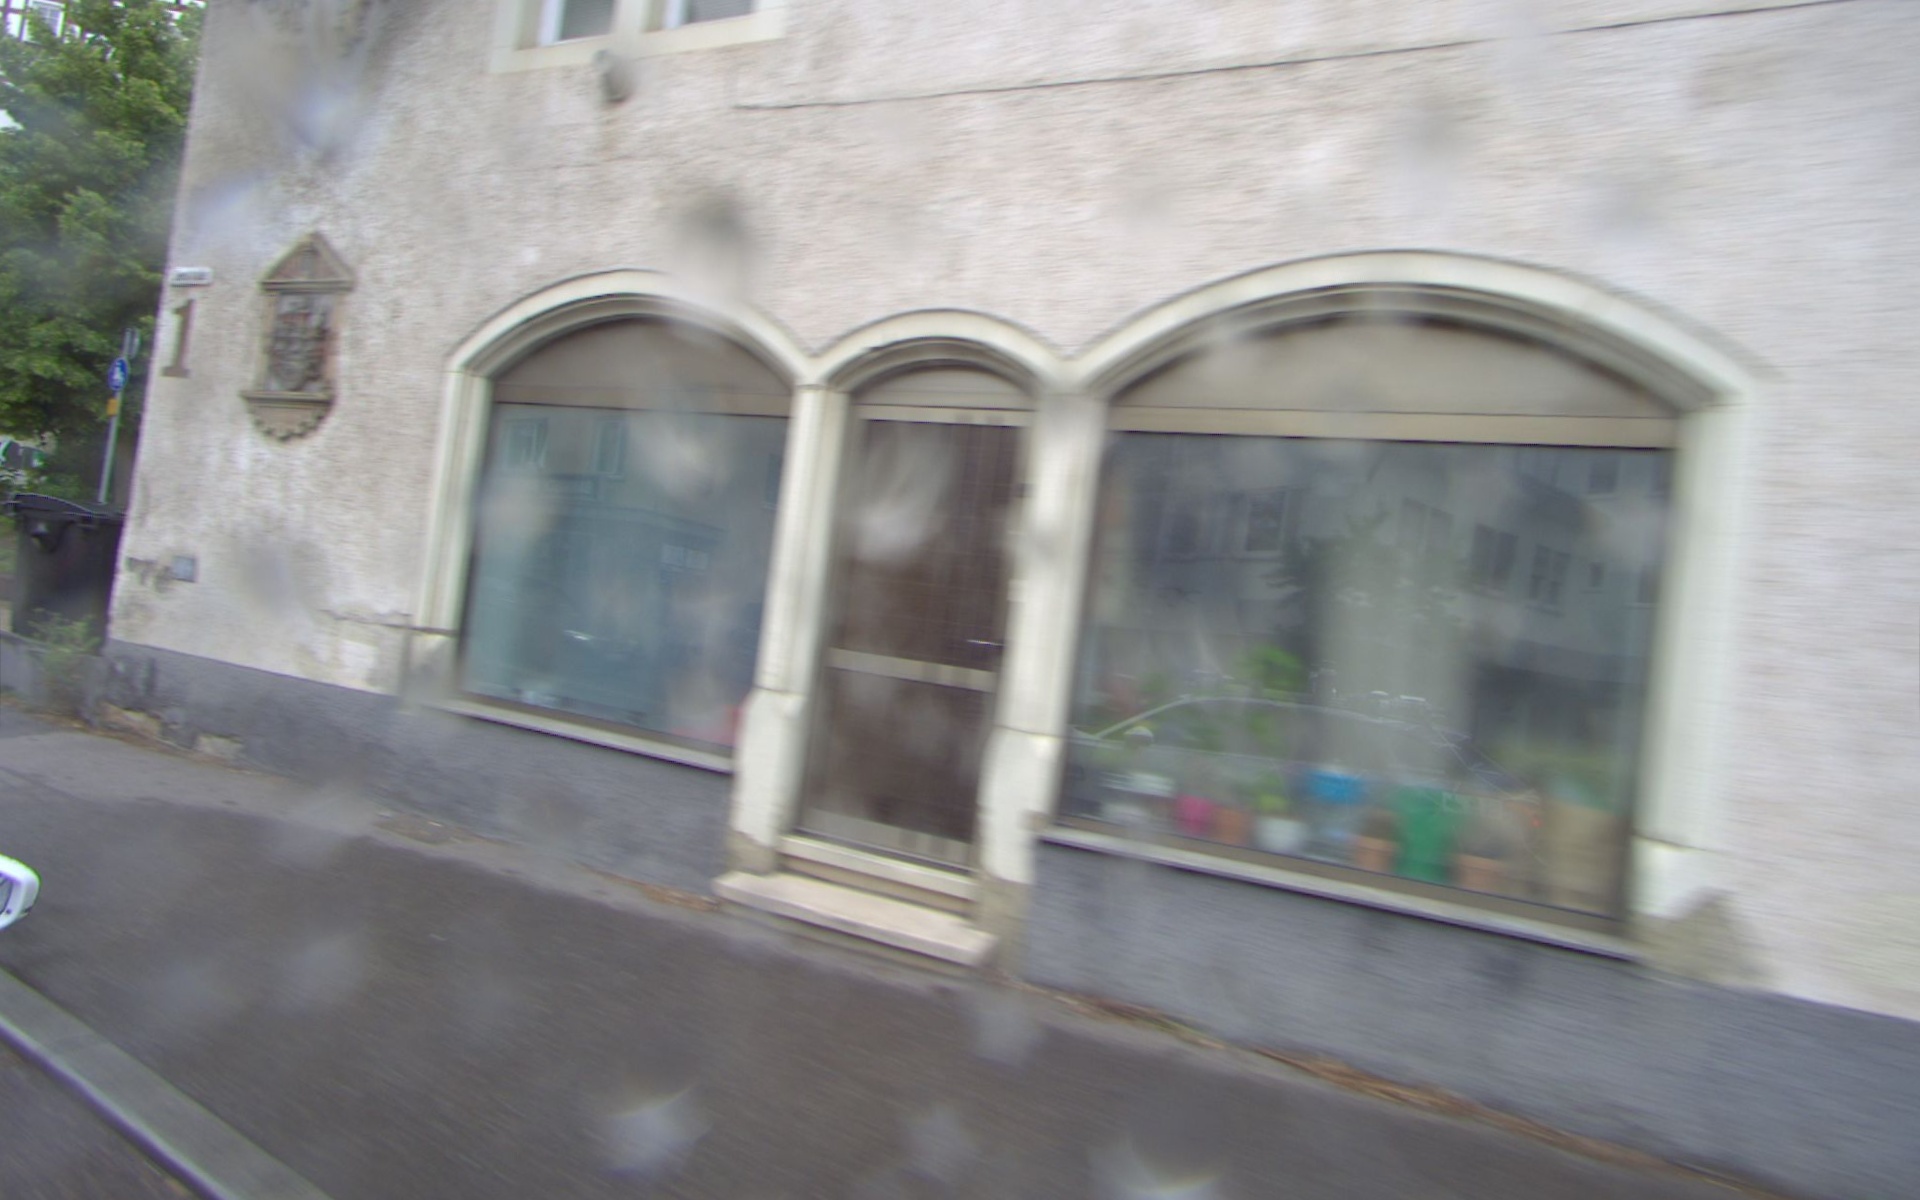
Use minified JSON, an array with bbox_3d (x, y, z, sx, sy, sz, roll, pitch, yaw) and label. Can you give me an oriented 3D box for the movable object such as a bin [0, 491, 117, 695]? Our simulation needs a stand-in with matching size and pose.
[{"bbox_3d":[-6.947,-0.051,7.615,0.632,1.459,0.413,6,-1,2],"label":"movable object such as a bin"}]
